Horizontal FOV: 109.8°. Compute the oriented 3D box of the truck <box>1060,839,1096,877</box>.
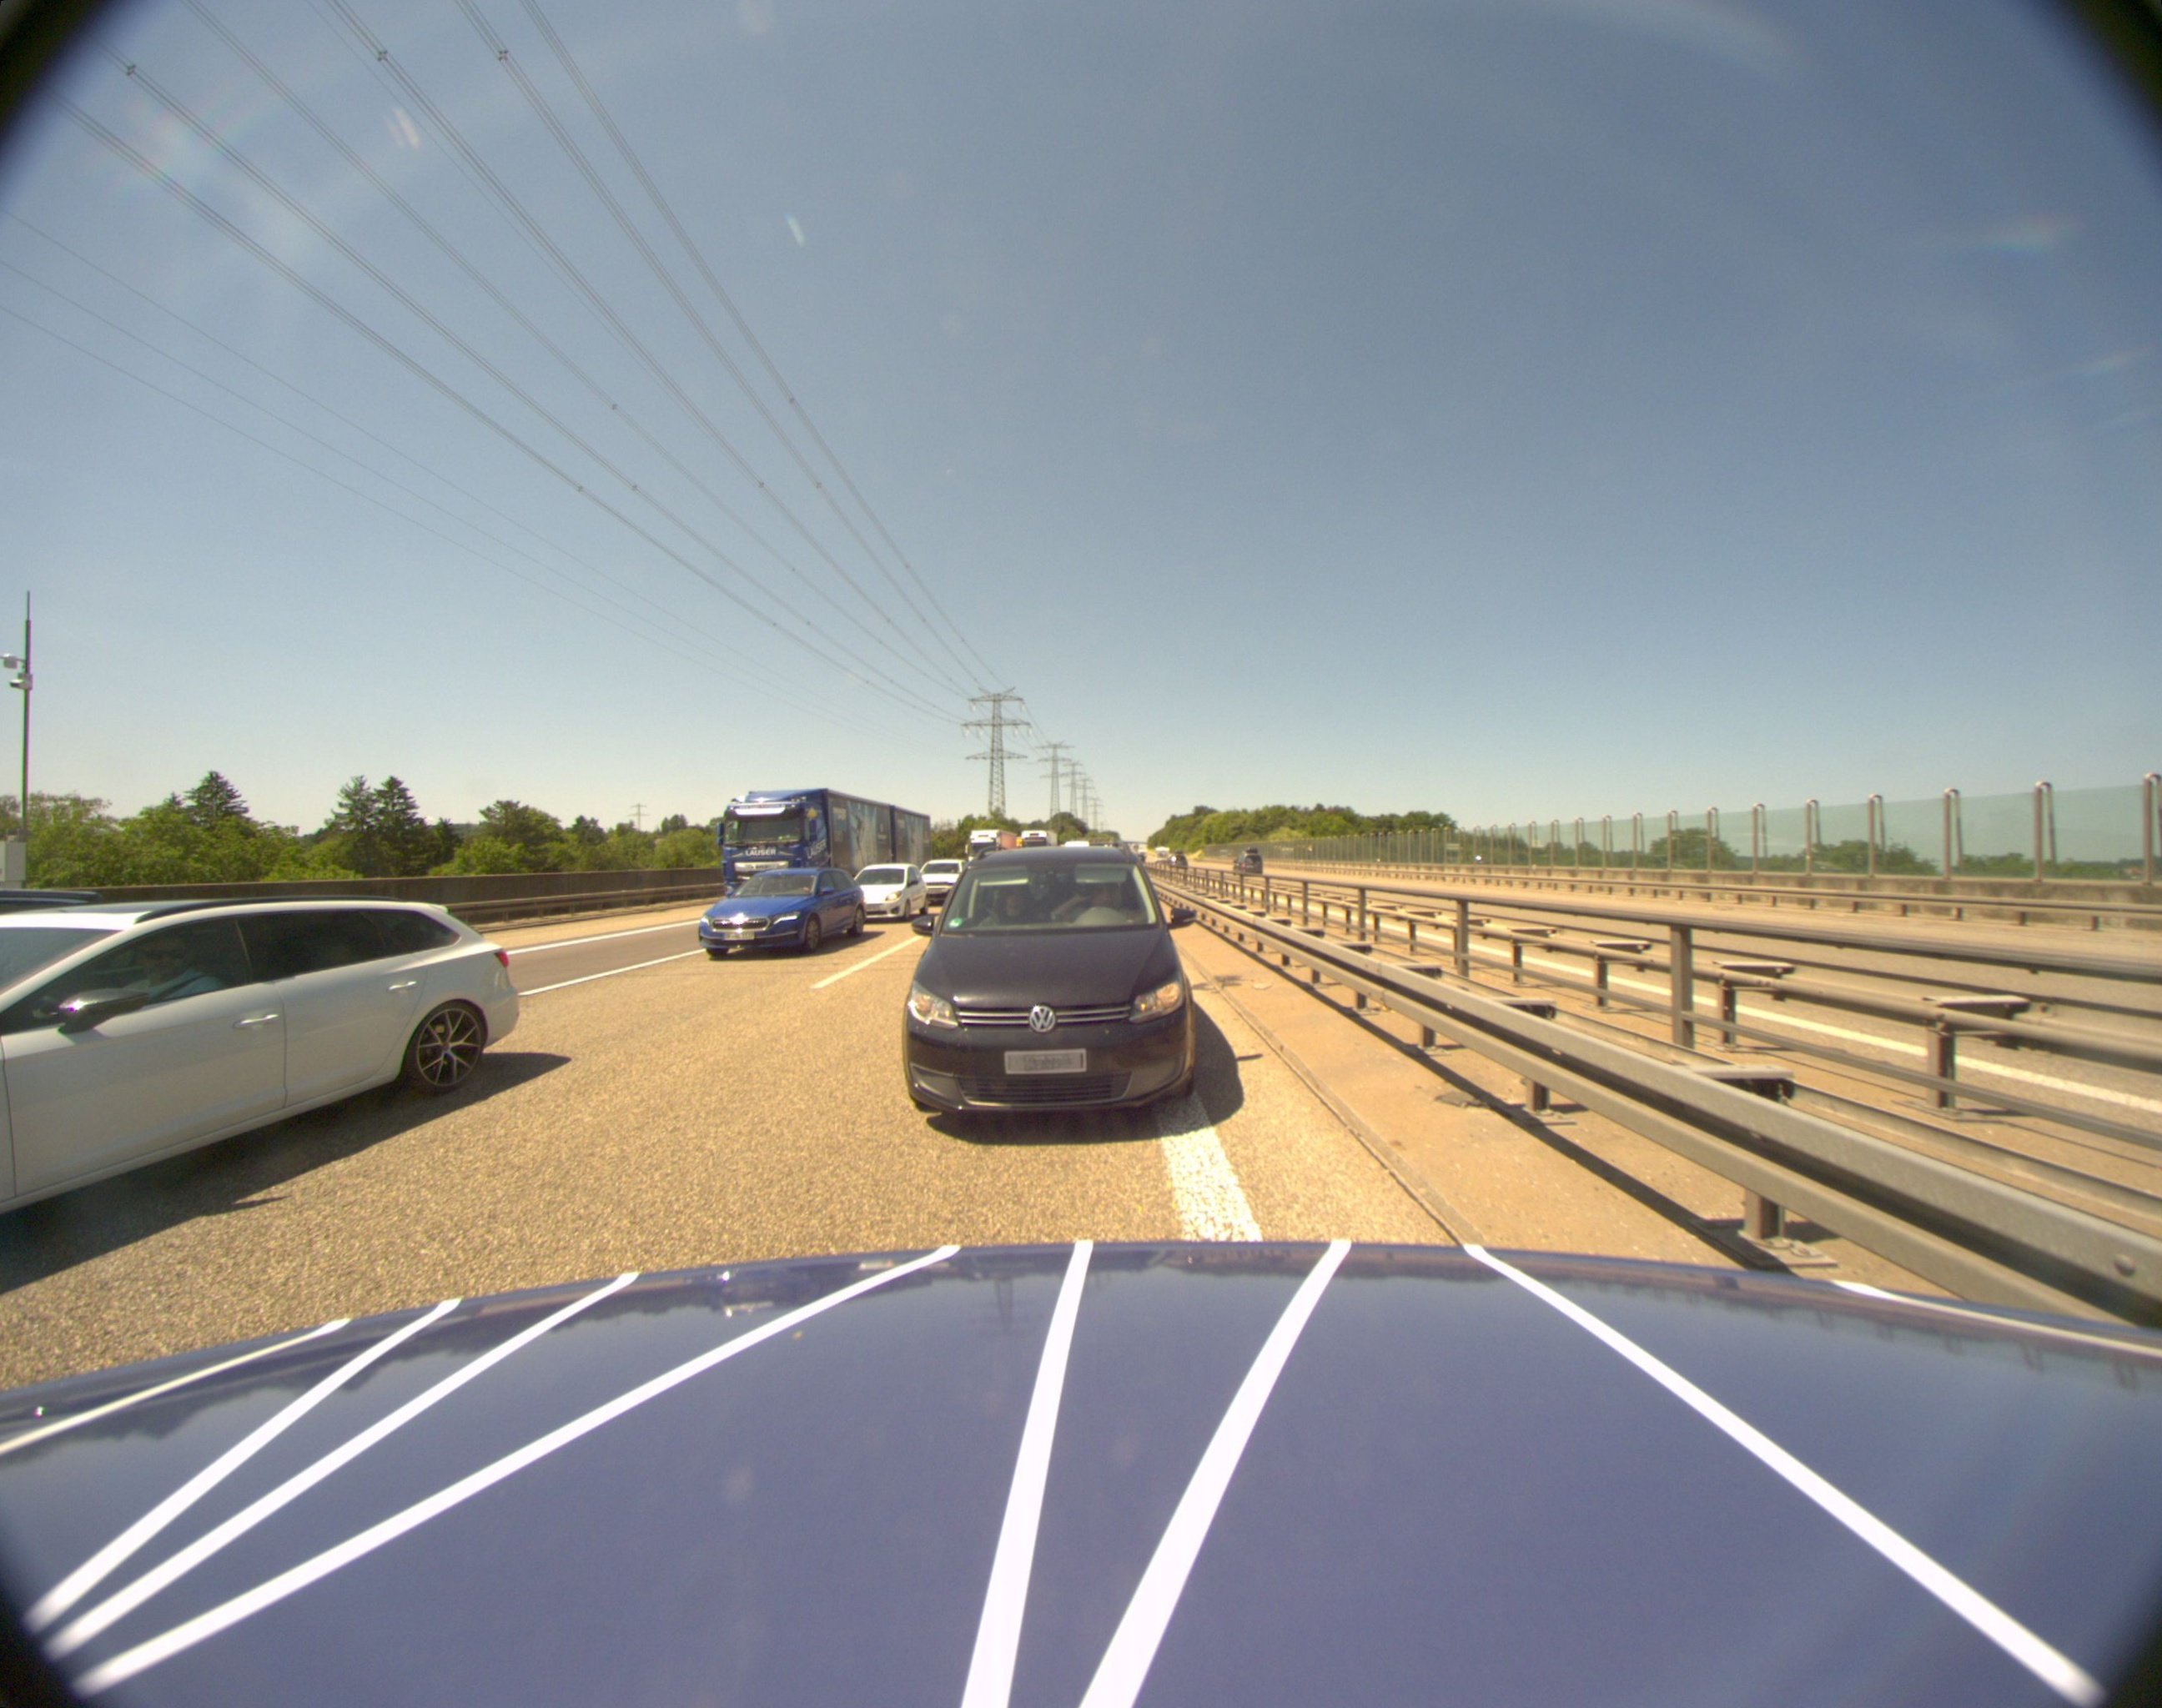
[{"bbox_3d":[-0.154,0.226,53.921,2.284,2.479,5.861,-2,0,1],"label":"truck"}]

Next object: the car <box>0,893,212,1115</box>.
[{"bbox_3d":[-8.658,1.152,4.703,1.740,1.518,4.106,-2,0,1],"label":"car"}]

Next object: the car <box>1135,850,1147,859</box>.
[{"bbox_3d":[11.139,0.139,140.368,1.872,1.690,4.430,0,0,0],"label":"car"}]

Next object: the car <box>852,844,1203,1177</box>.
[{"bbox_3d":[-0.259,0.791,5.896,1.740,1.652,4.000,-2,1,0],"label":"car"}]

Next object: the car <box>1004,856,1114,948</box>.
[{"bbox_3d":[-0.352,0.825,15.108,1.845,1.495,4.377,-1,0,1],"label":"car"}]

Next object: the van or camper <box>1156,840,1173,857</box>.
[{"bbox_3d":[15.875,-1.030,144.403,2.428,3.006,7.026,1,0,1],"label":"van or camper"}]

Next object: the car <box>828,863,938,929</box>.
[{"bbox_3d":[-5.180,1.039,20.436,1.762,1.495,4.095,-1,0,2],"label":"car"}]

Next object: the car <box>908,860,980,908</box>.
[{"bbox_3d":[-4.701,0.986,26.602,1.763,1.495,4.094,-1,0,0],"label":"car"}]

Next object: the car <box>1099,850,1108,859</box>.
[{"bbox_3d":[4.836,0.127,165.494,1.805,2.002,4.000,-1,0,1],"label":"car"}]

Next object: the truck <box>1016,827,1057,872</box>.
[{"bbox_3d":[-4.141,-0.459,72.639,2.980,3.832,10.561,-2,1,1],"label":"truck"}]

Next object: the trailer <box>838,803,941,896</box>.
[{"bbox_3d":[-8.961,-0.220,36.727,2.572,3.922,8.479,-1,0,1],"label":"trailer"}]

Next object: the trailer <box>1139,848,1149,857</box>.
[{"bbox_3d":[18.120,-0.401,218.796,2.499,2.534,6.774,1,0,1],"label":"trailer"}]

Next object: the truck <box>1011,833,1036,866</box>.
[{"bbox_3d":[-7.574,-0.594,100.607,2.346,4.058,8.278,-2,1,1],"label":"truck"}]

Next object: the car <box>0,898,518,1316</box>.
[{"bbox_3d":[-5.246,1.123,3.775,1.843,1.481,4.071,-2,0,-1],"label":"car"}]

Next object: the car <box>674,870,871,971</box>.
[{"bbox_3d":[-5.391,1.083,13.958,1.739,1.437,4.211,-1,0,2],"label":"car"}]

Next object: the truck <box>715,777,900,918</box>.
[{"bbox_3d":[-9.165,-0.211,27.253,2.529,4.043,10.447,-1,0,1],"label":"truck"}]

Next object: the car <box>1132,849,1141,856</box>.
[{"bbox_3d":[12.663,-0.285,173.399,1.872,1.523,4.424,2,0,1],"label":"car"}]

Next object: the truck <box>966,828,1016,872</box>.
[{"bbox_3d":[-8.034,-0.366,69.386,2.985,3.538,10.967,-2,0,1],"label":"truck"}]

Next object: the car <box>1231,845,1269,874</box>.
[{"bbox_3d":[13.440,0.428,60.612,1.998,2.203,4.268,1,0,0],"label":"car"}]

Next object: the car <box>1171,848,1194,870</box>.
[{"bbox_3d":[10.403,0.497,78.078,1.868,2.118,4.268,1,0,1],"label":"car"}]
